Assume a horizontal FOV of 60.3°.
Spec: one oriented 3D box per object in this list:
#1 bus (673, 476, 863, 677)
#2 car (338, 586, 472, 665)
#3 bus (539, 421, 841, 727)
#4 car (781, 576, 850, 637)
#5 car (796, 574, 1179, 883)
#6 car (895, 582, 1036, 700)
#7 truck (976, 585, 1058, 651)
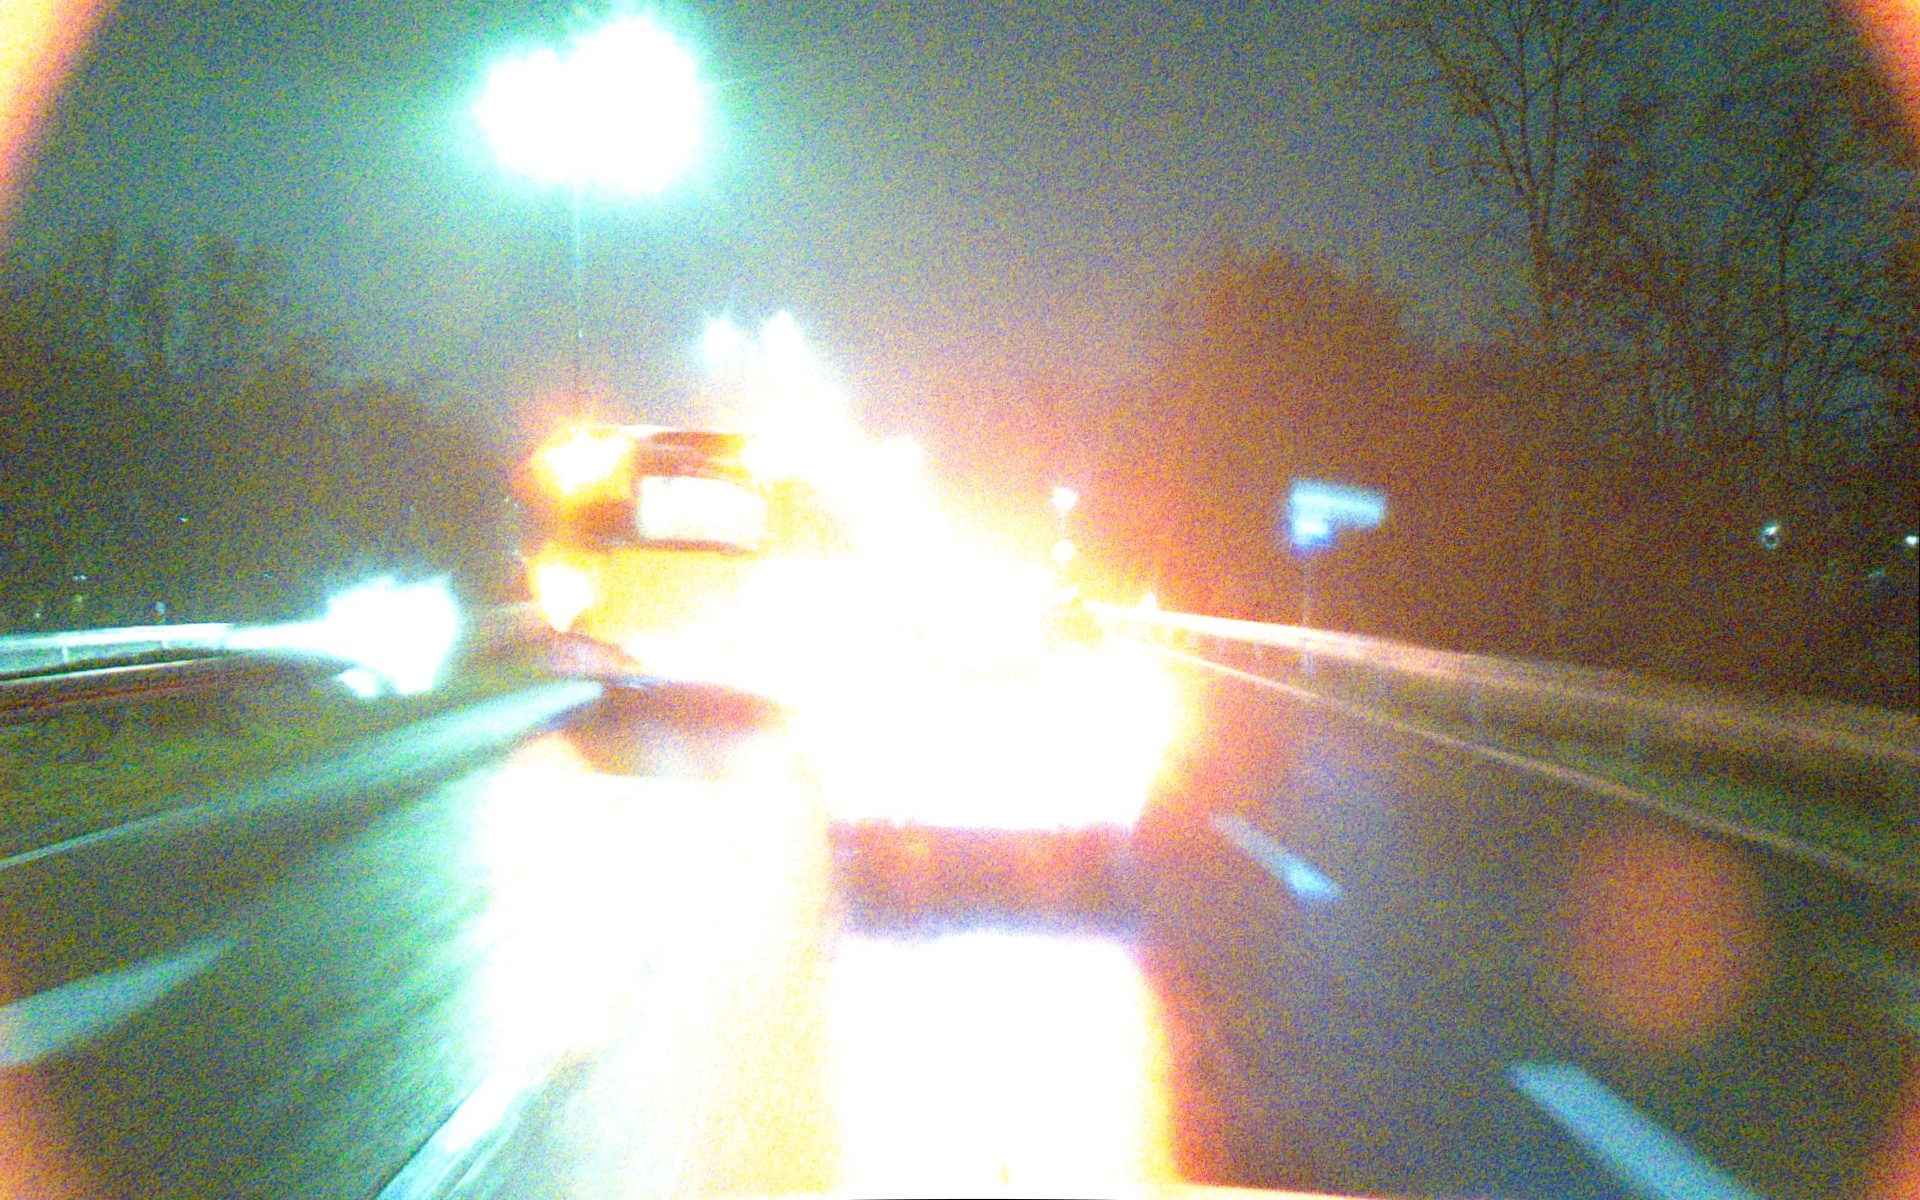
[{"bbox_3d":[-3.380,-0.431,31.255,2.688,3.178,8.701,2,1,-1],"label":"bus"},{"bbox_3d":[-13.994,0.634,41.945,1.953,1.840,4.199,2,-1,-1],"label":"car"},{"bbox_3d":[-3.216,-0.337,22.285,2.688,3.178,9.199,2,1,-1],"label":"bus"},{"bbox_3d":[-3.831,0.190,44.327,1.526,1.513,3.808,2,-1,-1],"label":"car"},{"bbox_3d":[0.224,0.640,10.153,1.904,1.517,3.717,1,0,3],"label":"car"},{"bbox_3d":[0.051,0.527,23.002,1.785,1.487,3.715,1,0,-1],"label":"car"},{"bbox_3d":[2.526,0.773,70.463,3.005,2.573,7.170,2,-1,5],"label":"truck"}]
